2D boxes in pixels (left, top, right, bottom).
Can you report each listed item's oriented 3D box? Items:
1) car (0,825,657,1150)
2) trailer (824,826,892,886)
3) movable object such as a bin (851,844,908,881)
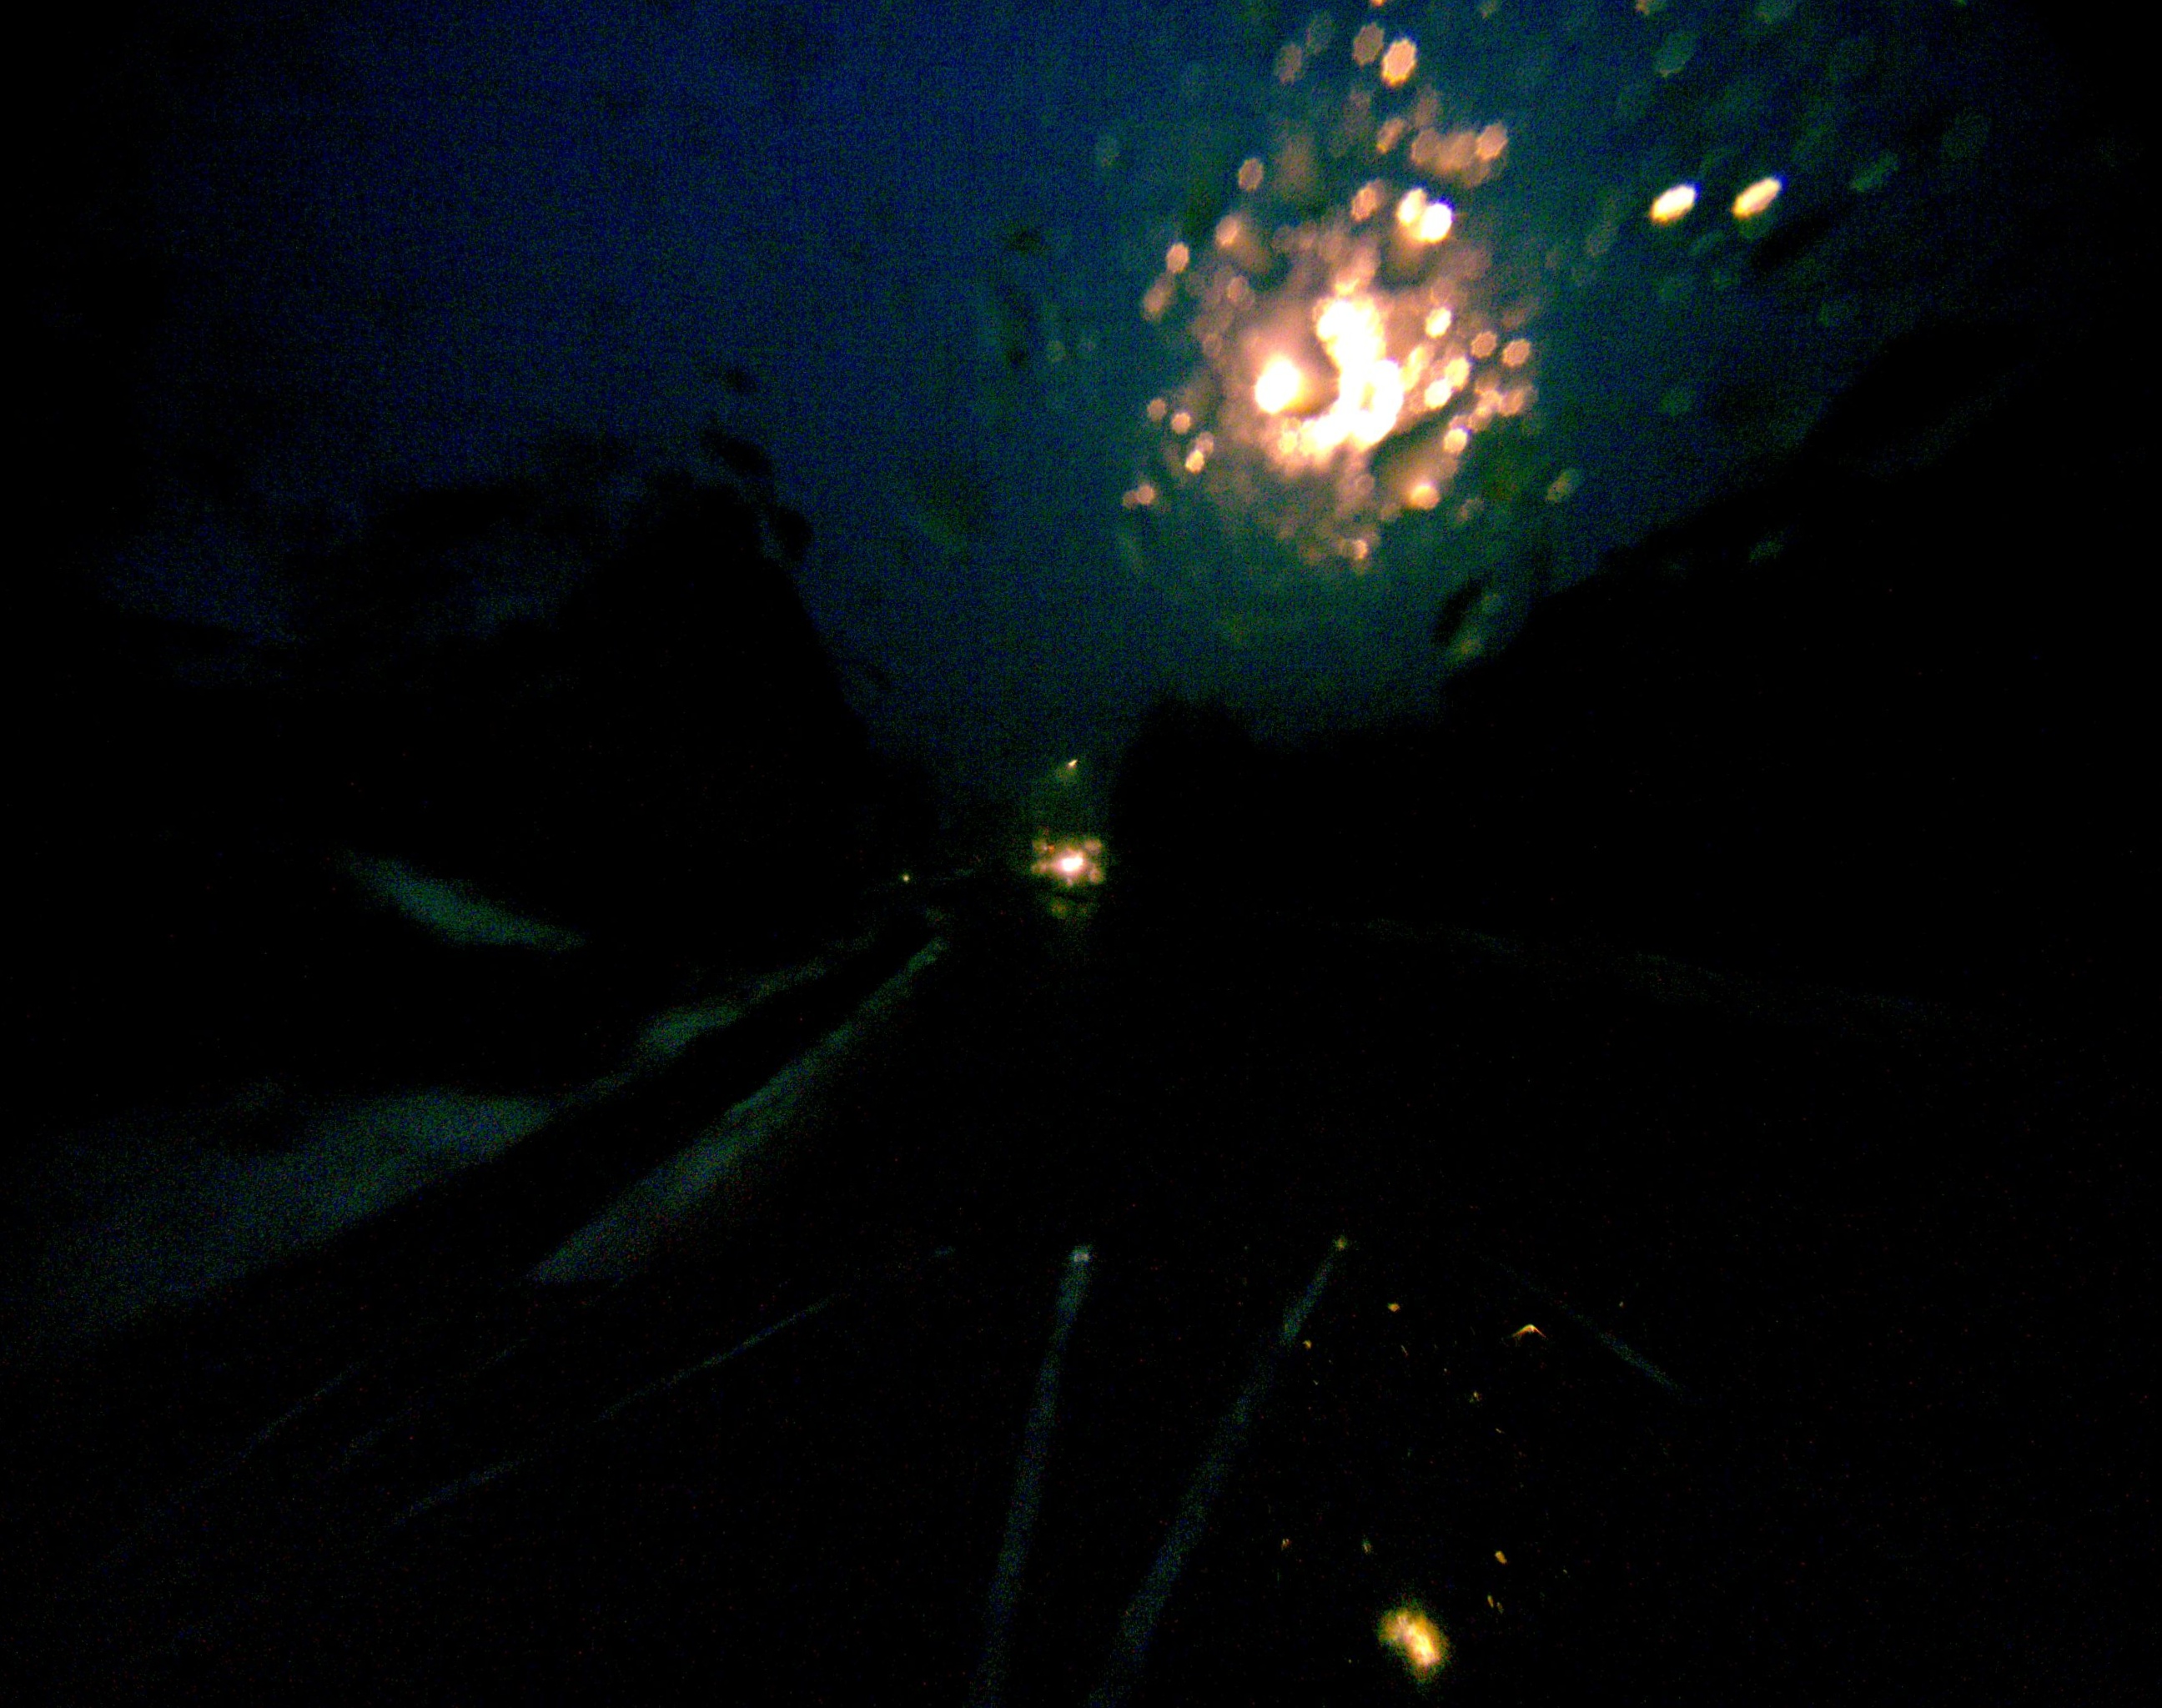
[{"bbox_3d":[-5.347,0.744,5.097,4.003,1.680,1.841,2,1,-16],"label":"car"},{"bbox_3d":[-13.971,0.063,47.996,2.882,3.540,5.060,-1,1,-2],"label":"trailer"},{"bbox_3d":[-13.848,0.541,52.622,2.392,2.455,4.516,-1,1,5],"label":"movable object such as a bin"}]
